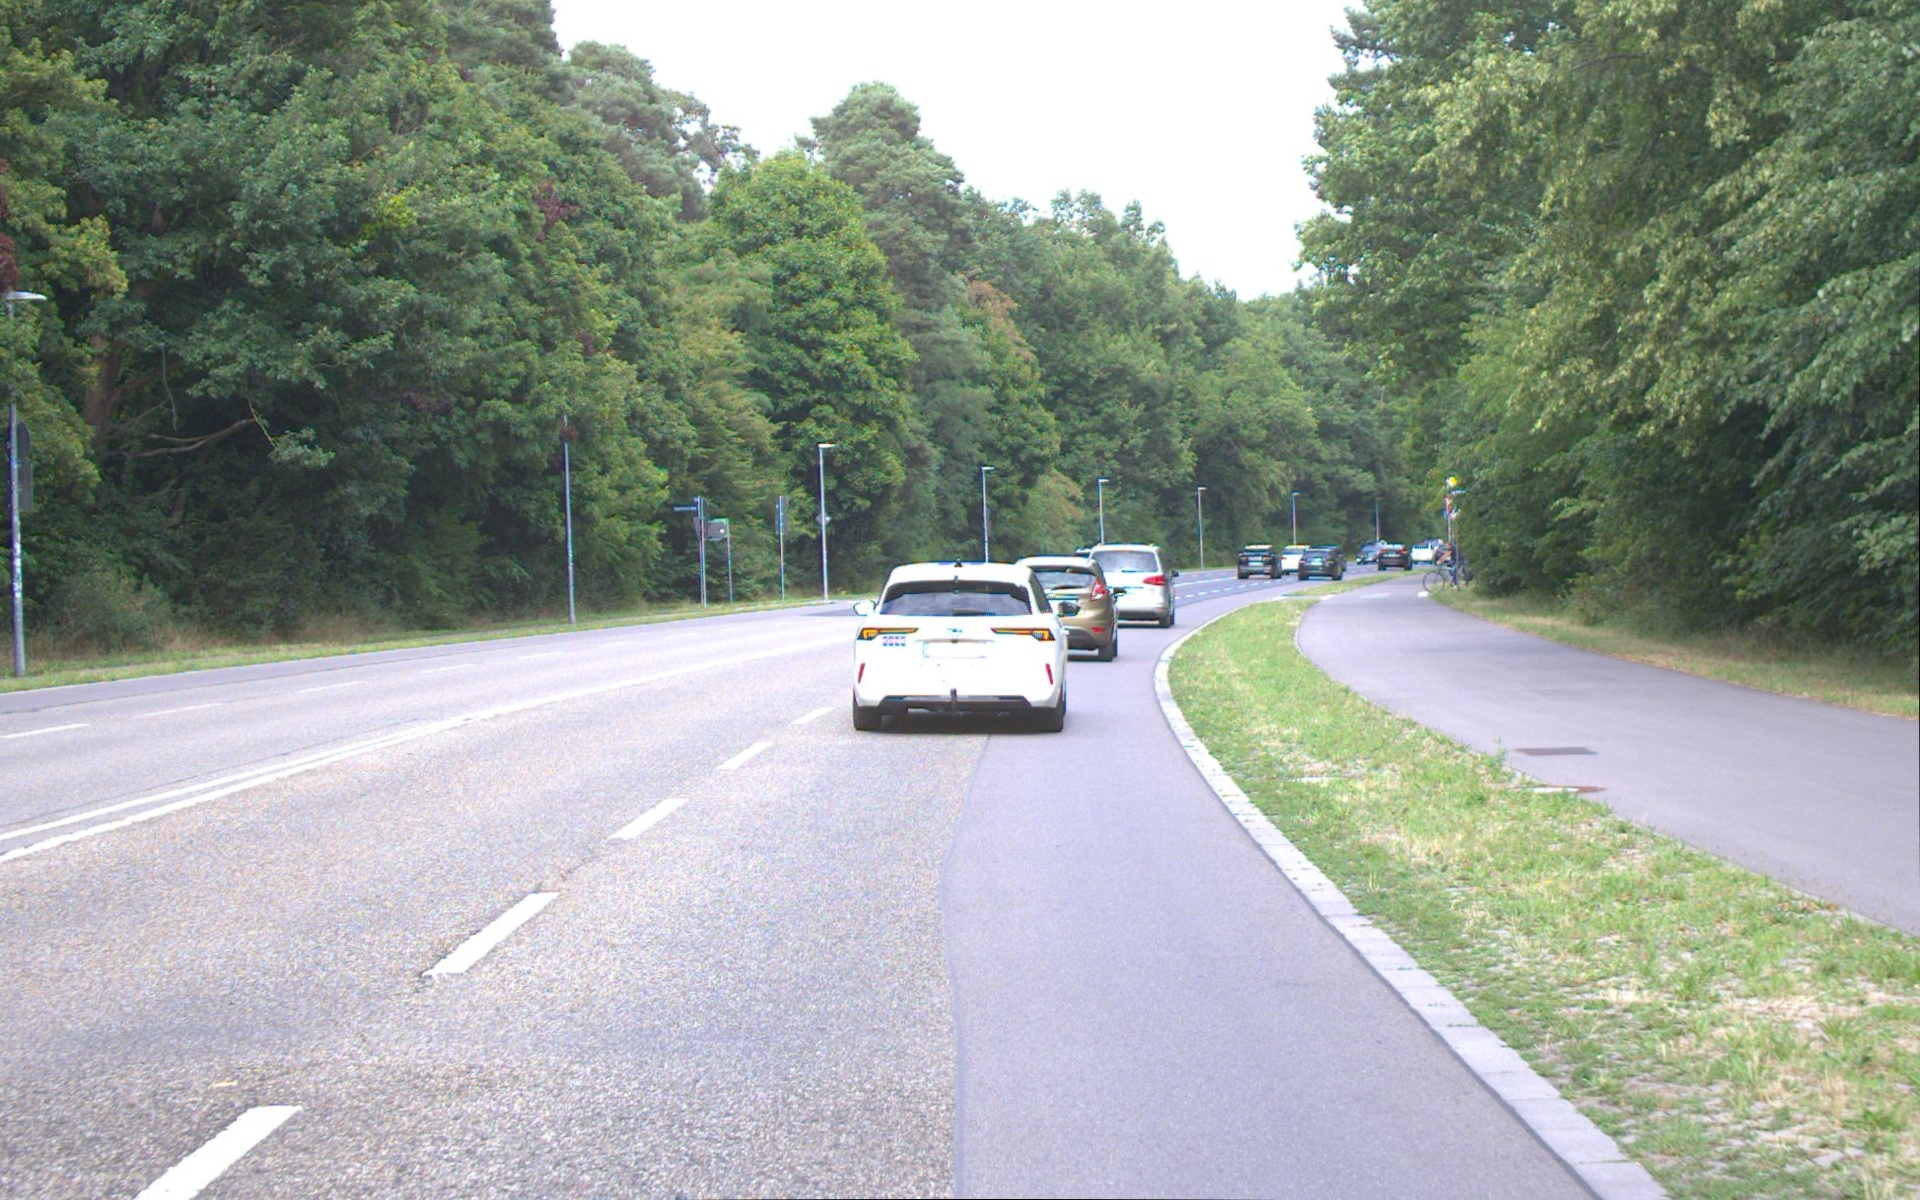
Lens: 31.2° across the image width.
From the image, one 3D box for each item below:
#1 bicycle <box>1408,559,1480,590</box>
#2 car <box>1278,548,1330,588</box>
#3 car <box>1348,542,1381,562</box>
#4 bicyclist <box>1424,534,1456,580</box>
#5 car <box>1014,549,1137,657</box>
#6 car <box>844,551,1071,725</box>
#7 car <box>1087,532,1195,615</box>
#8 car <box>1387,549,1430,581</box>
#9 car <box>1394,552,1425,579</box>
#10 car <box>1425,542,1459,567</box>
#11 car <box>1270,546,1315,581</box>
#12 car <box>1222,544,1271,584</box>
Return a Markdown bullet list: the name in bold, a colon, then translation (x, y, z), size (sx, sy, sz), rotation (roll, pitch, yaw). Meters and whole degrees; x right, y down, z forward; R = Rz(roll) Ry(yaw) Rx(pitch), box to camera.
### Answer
- **bicycle**: translation (15.512, -0.812, 110.226), size (2.176, 0.991, 0.710), rotation (0, 0, 20)
- **car**: translation (16.016, -1.479, 159.751), size (1.994, 1.777, 3.998), rotation (2, 0, 11)
- **car**: translation (28.771, -3.435, 244.399), size (1.874, 1.426, 3.998), rotation (0, 1, 14)
- **bicyclist**: translation (15.392, -1.387, 110.251), size (0.899, 1.465, 0.710), rotation (0, 0, 20)
- **car**: translation (1.664, 0.035, 48.651), size (1.635, 1.415, 4.000), rotation (2, 0, 3)
- **car**: translation (0.001, 0.302, 30.180), size (1.836, 1.405, 4.491), rotation (0, 0, 1)
- **car**: translation (3.733, -0.527, 70.432), size (1.994, 1.601, 3.999), rotation (2, 0, 6)
- **car**: translation (26.721, -2.093, 204.612), size (1.995, 1.777, 3.997), rotation (2, 0, 14)
- **car**: translation (32.221, -2.472, 246.202), size (1.889, 1.809, 3.998), rotation (2, 0, 11)
- **car**: translation (32.817, -3.096, 234.007), size (1.994, 1.700, 3.998), rotation (0, 1, 11)
- **car**: translation (17.557, -1.919, 181.458), size (1.994, 1.777, 3.998), rotation (2, 0, 10)
- **car**: translation (13.714, -1.713, 164.293), size (1.994, 1.777, 3.998), rotation (2, 0, 9)
